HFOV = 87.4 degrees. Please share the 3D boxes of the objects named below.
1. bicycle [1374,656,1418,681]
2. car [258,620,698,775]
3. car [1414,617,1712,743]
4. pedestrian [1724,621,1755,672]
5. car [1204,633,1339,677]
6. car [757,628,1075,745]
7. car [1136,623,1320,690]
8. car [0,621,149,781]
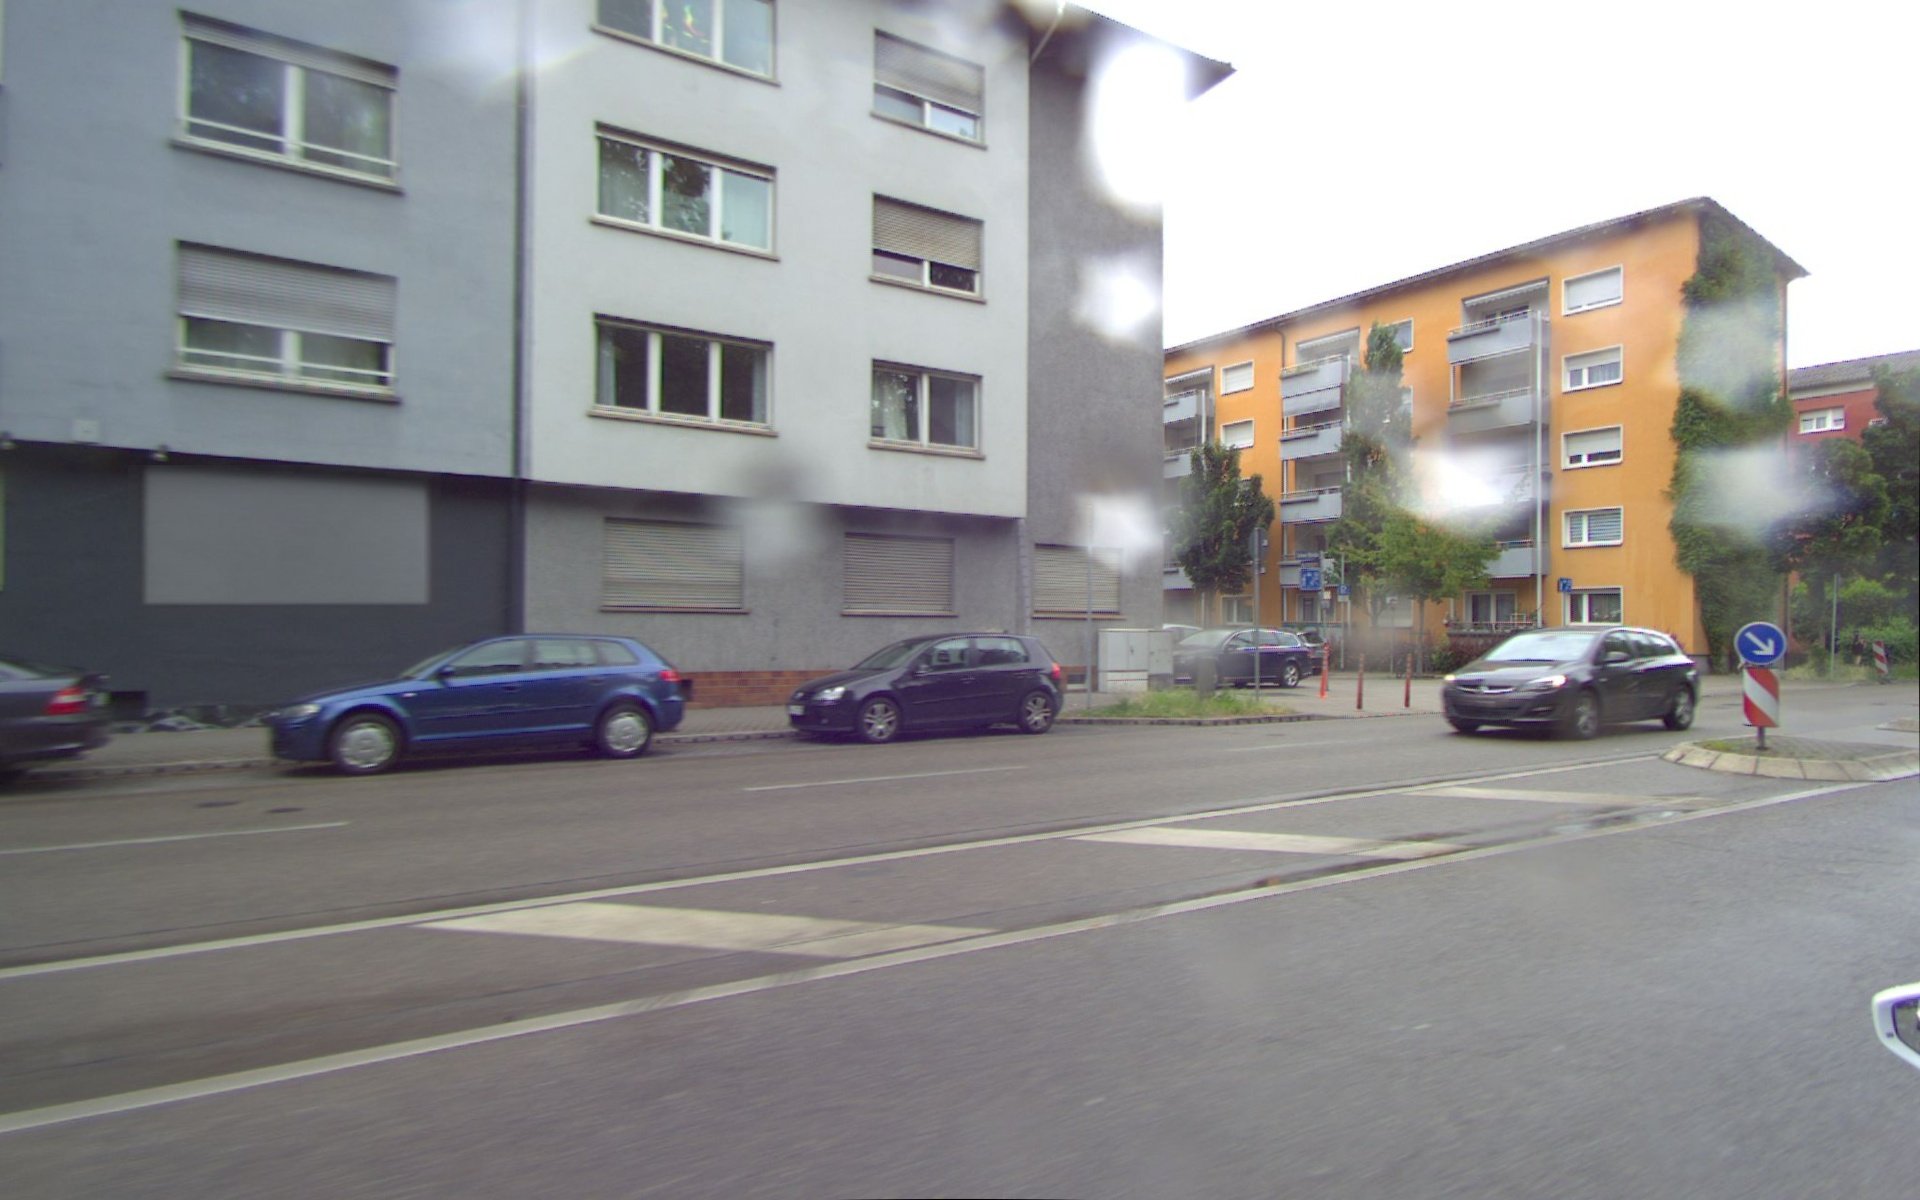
[{"bbox_3d":[13.834,2.155,31.861,1.528,0.759,0.462,1,-2,-30],"label":"bicycle"},{"bbox_3d":[-5.305,1.032,11.393,4.229,1.468,1.672,2,-5,-32],"label":"car"},{"bbox_3d":[8.577,1.055,14.168,4.599,1.524,1.778,2,-3,-33],"label":"car"},{"bbox_3d":[25.446,1.514,32.795,0.653,1.625,0.583,1,-3,-30],"label":"pedestrian"},{"bbox_3d":[11.484,2.014,37.294,1.862,1.524,4.600,2,-3,-37],"label":"car"},{"bbox_3d":[-0.572,1.164,14.339,4.275,1.444,1.704,1,-4,-32],"label":"car"},{"bbox_3d":[6.427,1.324,23.966,4.362,1.451,1.714,1,-3,-31],"label":"car"},{"bbox_3d":[-9.952,0.898,8.549,4.530,1.375,1.679,2,-5,-33],"label":"car"}]
